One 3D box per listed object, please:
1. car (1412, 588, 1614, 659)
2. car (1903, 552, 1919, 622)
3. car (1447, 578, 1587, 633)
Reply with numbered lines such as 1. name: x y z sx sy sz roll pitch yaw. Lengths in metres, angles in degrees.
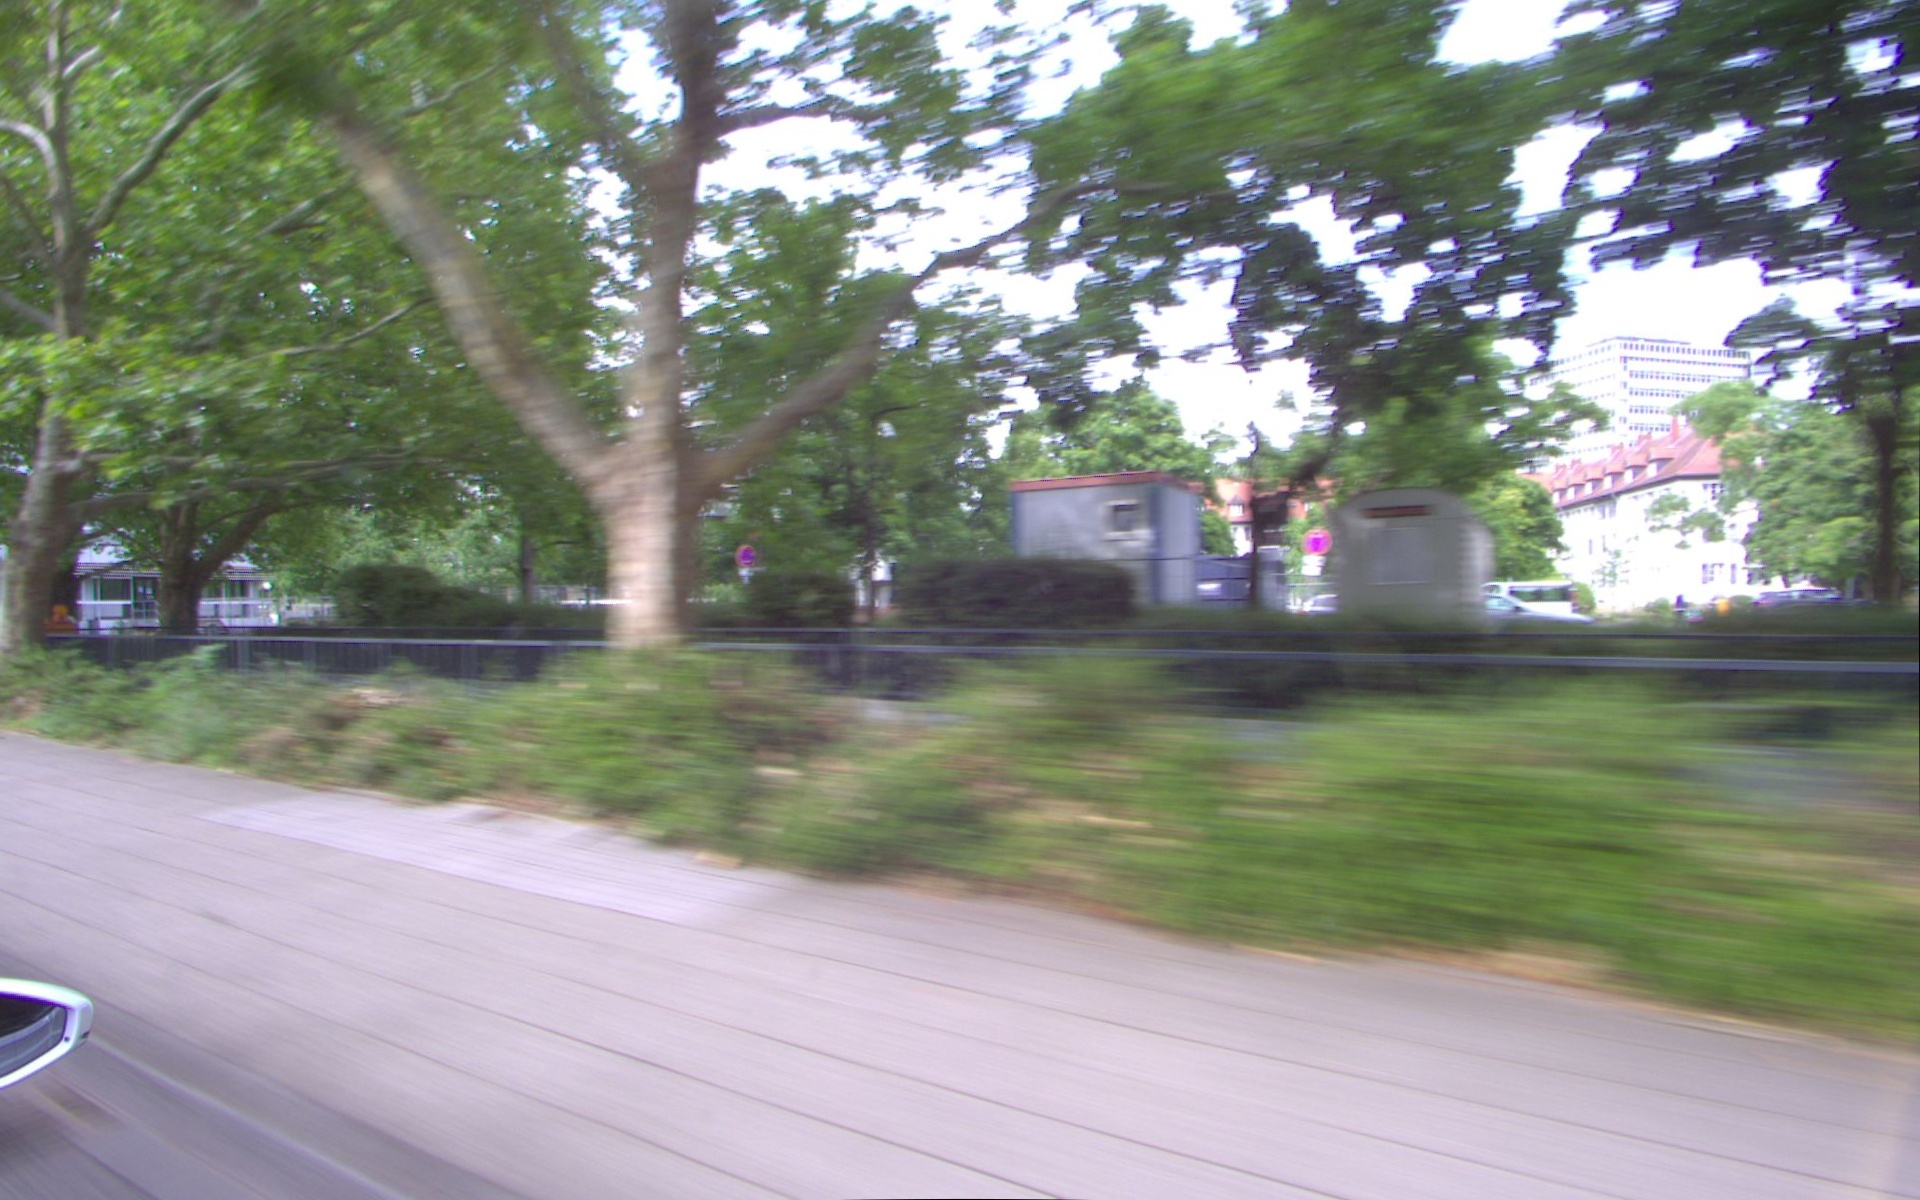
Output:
1. car: 15.116 0.632 27.602 4.699 1.817 1.993 0 -1 28
2. car: 39.201 -0.477 37.332 5.412 2.647 2.434 0 -1 29
3. car: 21.893 0.227 39.602 4.697 2.039 1.994 0 -1 27
